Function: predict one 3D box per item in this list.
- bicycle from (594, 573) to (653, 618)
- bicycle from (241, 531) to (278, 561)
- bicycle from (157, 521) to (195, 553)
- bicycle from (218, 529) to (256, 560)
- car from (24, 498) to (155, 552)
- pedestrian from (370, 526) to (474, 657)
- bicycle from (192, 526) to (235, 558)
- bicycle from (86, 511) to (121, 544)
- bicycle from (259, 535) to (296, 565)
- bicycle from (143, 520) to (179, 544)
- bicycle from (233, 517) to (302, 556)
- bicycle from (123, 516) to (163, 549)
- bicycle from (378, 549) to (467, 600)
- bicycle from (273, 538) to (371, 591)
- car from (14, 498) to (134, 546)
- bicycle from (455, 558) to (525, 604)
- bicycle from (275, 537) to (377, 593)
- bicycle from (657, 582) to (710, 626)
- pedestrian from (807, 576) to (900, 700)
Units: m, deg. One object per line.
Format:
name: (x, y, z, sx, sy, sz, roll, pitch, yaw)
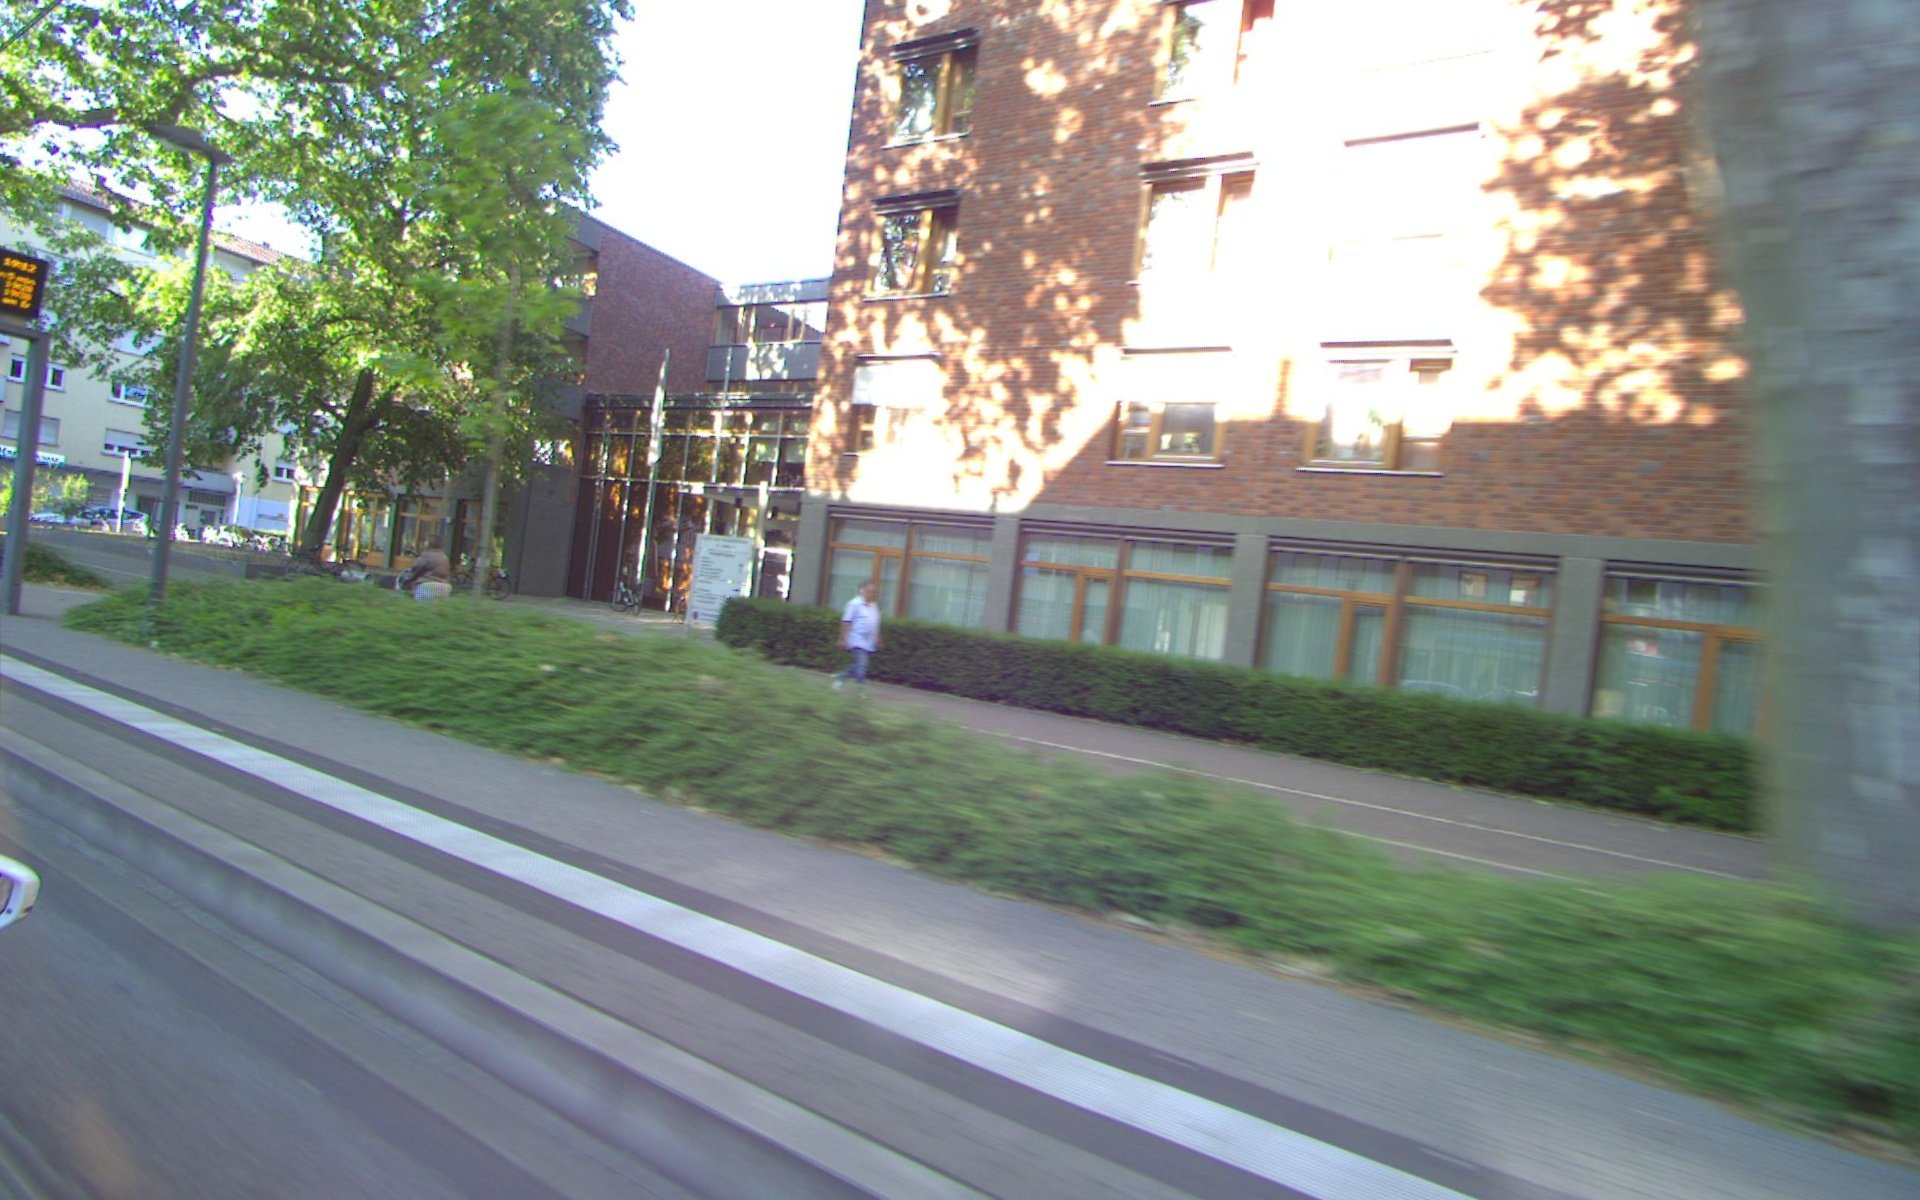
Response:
bicycle: (-10.307, -0.158, 30.809, 2.009, 1.171, 0.704, 7, 2, 41)
bicycle: (-31.362, -2.408, 45.026, 1.669, 1.171, 0.661, 7, 1, 31)
bicycle: (-33.097, -2.673, 42.470, 1.950, 1.171, 0.636, 7, 2, 34)
bicycle: (-31.871, -2.434, 44.337, 1.820, 1.171, 0.661, 7, 1, 31)
car: (-38.097, -3.243, 44.119, 1.835, 1.713, 3.867, 7, -1, 31)
pedestrian: (-7.421, -0.110, 13.882, 0.902, 1.680, 0.767, 7, 0, 32)
bicycle: (-32.246, -2.517, 43.457, 2.017, 1.171, 0.731, 7, 1, 32)
bicycle: (-34.619, -2.941, 40.661, 1.671, 1.171, 0.600, 7, 2, 35)
bicycle: (-30.966, -2.264, 45.628, 1.669, 1.171, 0.661, 7, 1, 31)
bicycle: (-43.783, -3.703, 55.162, 0.591, 1.171, 1.696, 6, 1, -3)
bicycle: (-24.857, -2.267, 36.139, 1.921, 1.171, 0.565, 6, 1, -43)
bicycle: (-33.536, -2.777, 41.281, 1.668, 1.171, 0.601, 6, 2, 27)
bicycle: (-14.613, -0.674, 27.400, 0.563, 1.171, 2.030, 7, 1, 36)
bicycle: (-16.415, -0.891, 25.937, 0.563, 1.171, 2.032, 7, 1, 32)
car: (-42.375, -3.696, 48.195, 1.835, 1.571, 3.867, 10, 1, 31)
bicycle: (-13.566, -0.544, 29.058, 0.563, 1.171, 1.677, 7, 1, 36)
bicycle: (-15.851, -0.856, 25.200, 0.564, 1.171, 2.027, 7, 1, 41)
bicycle: (-7.986, 0.118, 29.136, 0.719, 1.171, 1.950, 6, 1, 6)
pedestrian: (-1.547, 0.559, 14.674, 0.902, 1.680, 0.767, 7, 0, 32)
